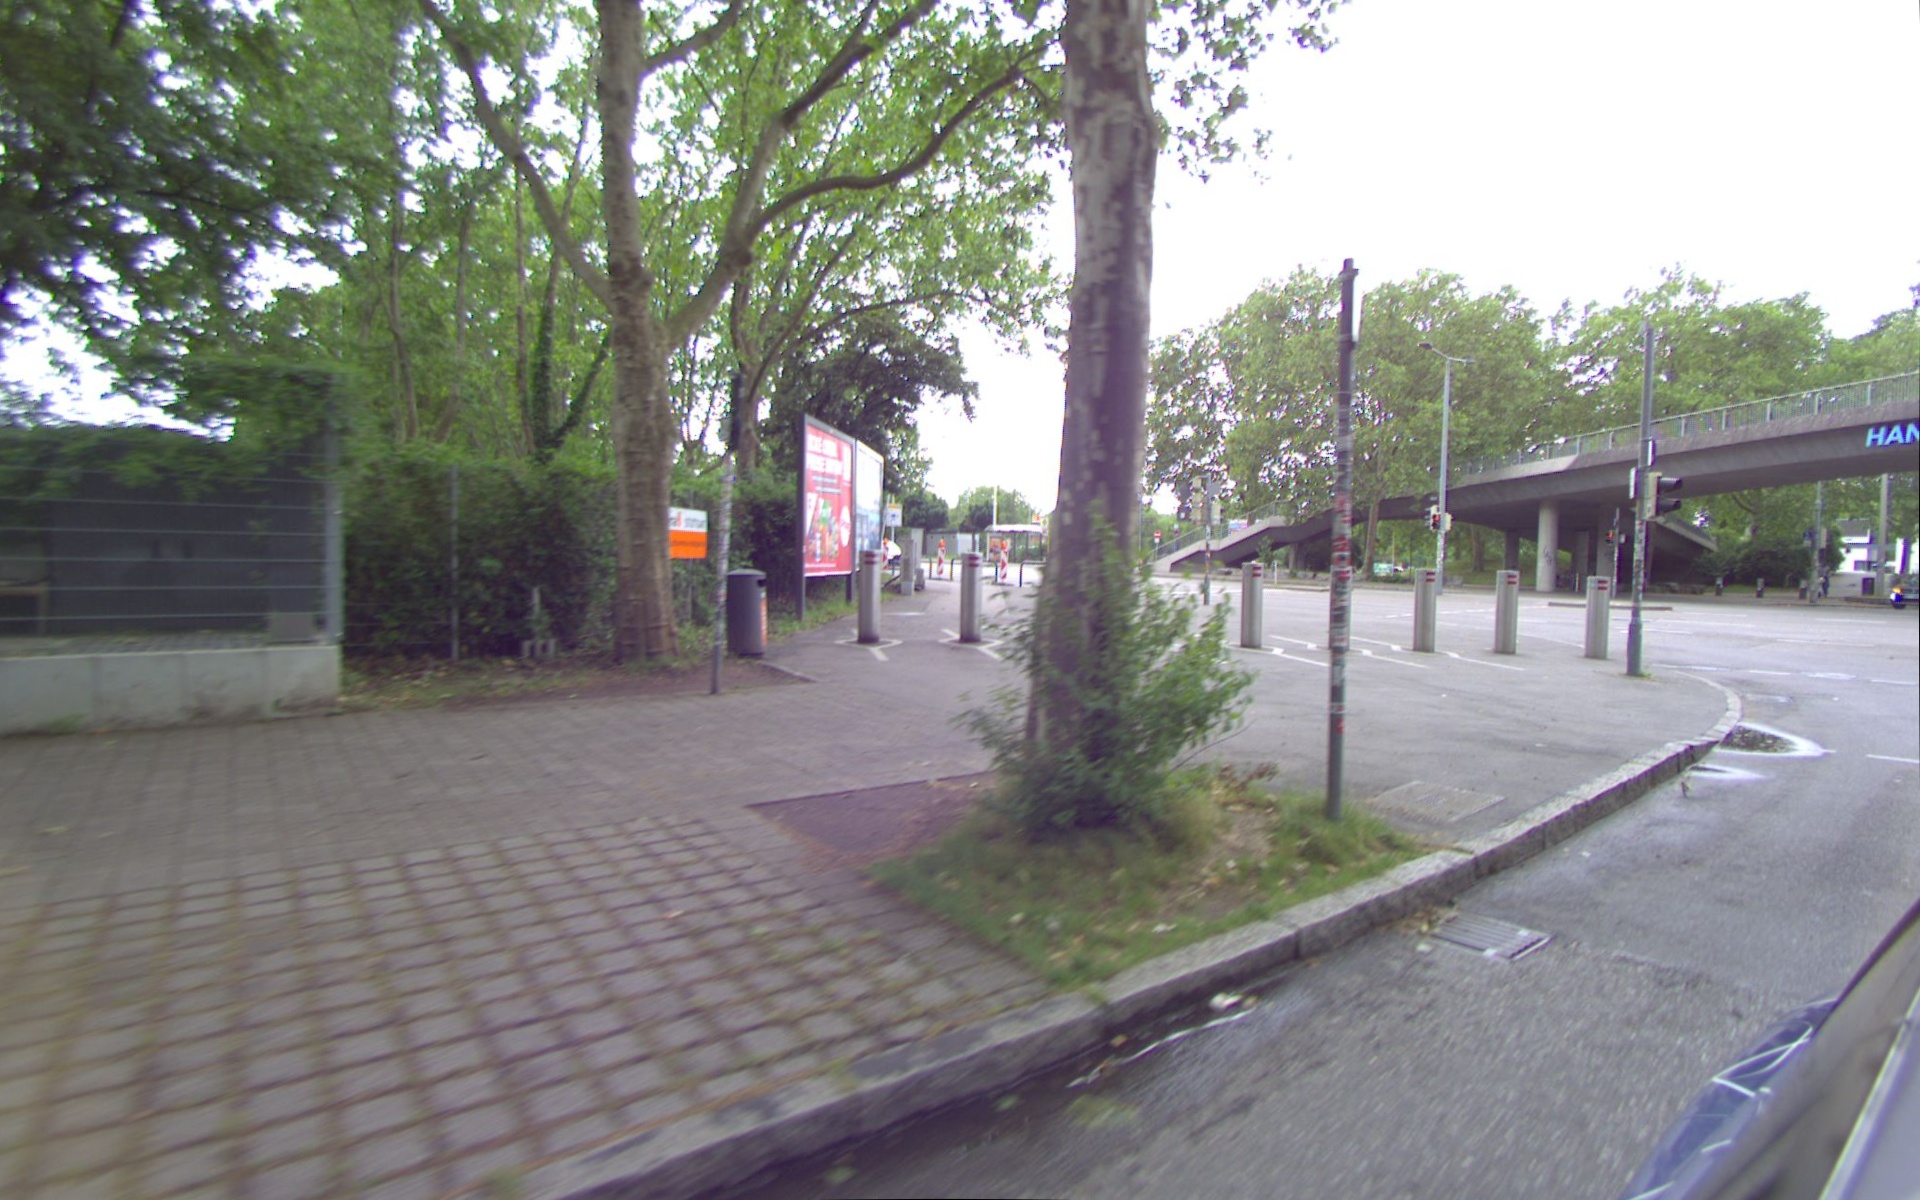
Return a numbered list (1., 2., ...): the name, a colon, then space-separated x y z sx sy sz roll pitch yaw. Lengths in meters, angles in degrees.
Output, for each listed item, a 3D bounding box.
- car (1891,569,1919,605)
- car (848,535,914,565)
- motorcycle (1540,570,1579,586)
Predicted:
1. car: 39.797 -0.507 40.403 3.642 1.336 1.766 0 4 -4
2. car: -4.329 -2.714 54.818 1.766 1.528 4.003 0 4 -34
3. motorcycle: 33.666 -1.243 56.862 0.637 0.861 1.740 0 3 -29
